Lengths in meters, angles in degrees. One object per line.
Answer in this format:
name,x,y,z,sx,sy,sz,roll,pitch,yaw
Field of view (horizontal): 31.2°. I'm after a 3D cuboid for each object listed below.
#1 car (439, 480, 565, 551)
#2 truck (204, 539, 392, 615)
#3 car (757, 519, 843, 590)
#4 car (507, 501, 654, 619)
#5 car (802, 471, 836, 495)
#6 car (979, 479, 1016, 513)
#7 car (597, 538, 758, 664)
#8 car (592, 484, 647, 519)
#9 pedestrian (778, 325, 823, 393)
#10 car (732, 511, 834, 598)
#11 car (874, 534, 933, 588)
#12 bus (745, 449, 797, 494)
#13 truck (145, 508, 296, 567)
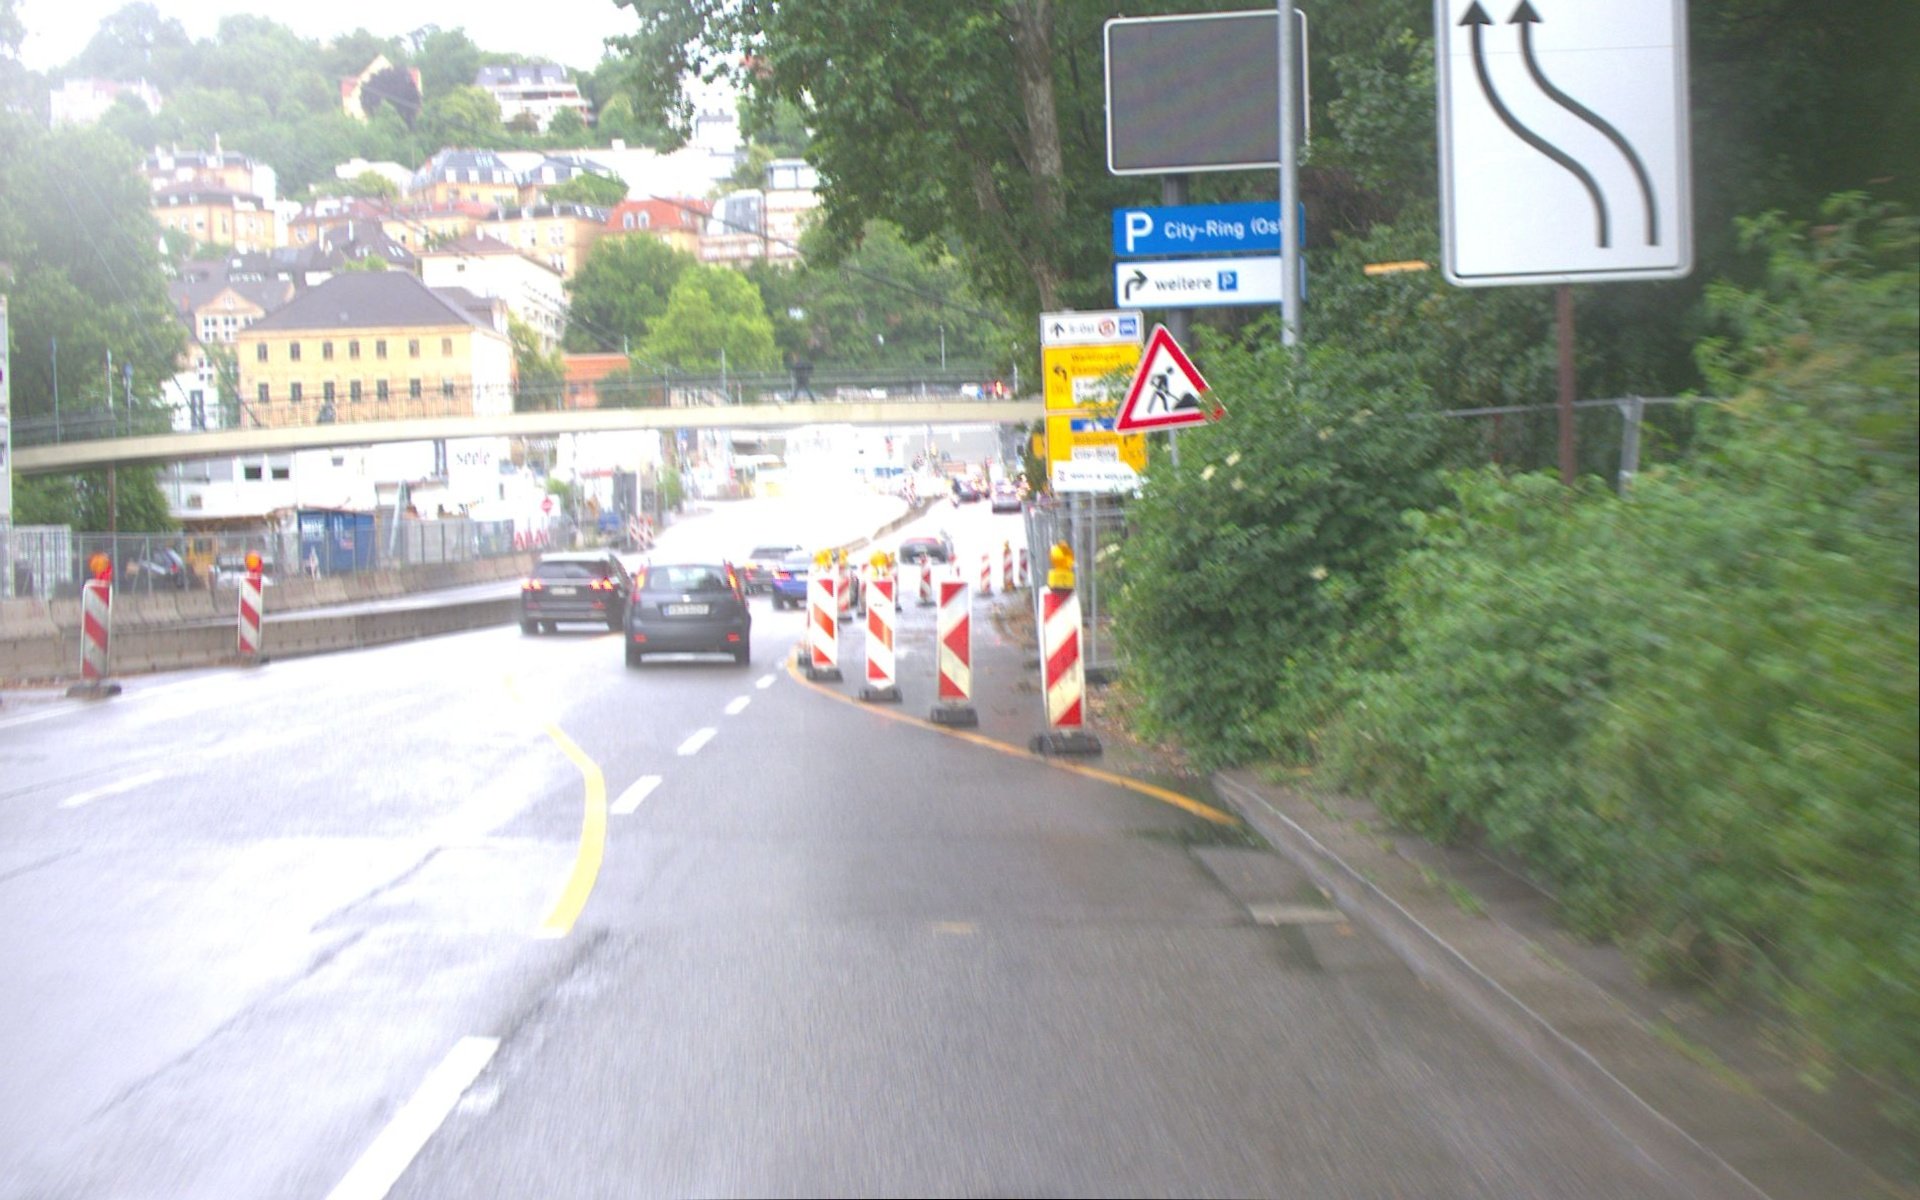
car,-19.434,-3.604,146.173,1.997,2.865,6.043,-2,1,30
truck,-23.840,-0.843,124.024,6.275,2.444,2.694,-2,1,-4
car,-4.777,-1.378,103.159,1.994,2.007,3.999,-2,1,5
car,-6.936,-0.749,63.157,2.017,2.007,4.000,-2,1,3
car,-10.156,-8.460,248.090,2.081,1.625,4.853,-2,2,2
car,2.181,-6.000,198.628,1.993,1.863,4.000,-2,1,1
car,-3.814,-0.021,45.921,1.812,1.521,4.001,-3,1,-8
car,-17.557,-5.079,177.508,1.994,1.616,4.000,-1,3,6
pedestrian,-5.121,-7.720,110.262,1.148,2.053,1.059,-2,1,11
car,-4.441,-1.163,86.877,2.105,2.043,4.000,-2,1,3
car,-2.202,-1.560,134.927,2.051,2.007,4.000,-2,1,2
bus,-13.780,-9.394,251.633,2.806,3.173,8.808,-2,2,2
truck,-28.234,-2.409,131.308,5.247,2.006,2.164,-2,2,-1
